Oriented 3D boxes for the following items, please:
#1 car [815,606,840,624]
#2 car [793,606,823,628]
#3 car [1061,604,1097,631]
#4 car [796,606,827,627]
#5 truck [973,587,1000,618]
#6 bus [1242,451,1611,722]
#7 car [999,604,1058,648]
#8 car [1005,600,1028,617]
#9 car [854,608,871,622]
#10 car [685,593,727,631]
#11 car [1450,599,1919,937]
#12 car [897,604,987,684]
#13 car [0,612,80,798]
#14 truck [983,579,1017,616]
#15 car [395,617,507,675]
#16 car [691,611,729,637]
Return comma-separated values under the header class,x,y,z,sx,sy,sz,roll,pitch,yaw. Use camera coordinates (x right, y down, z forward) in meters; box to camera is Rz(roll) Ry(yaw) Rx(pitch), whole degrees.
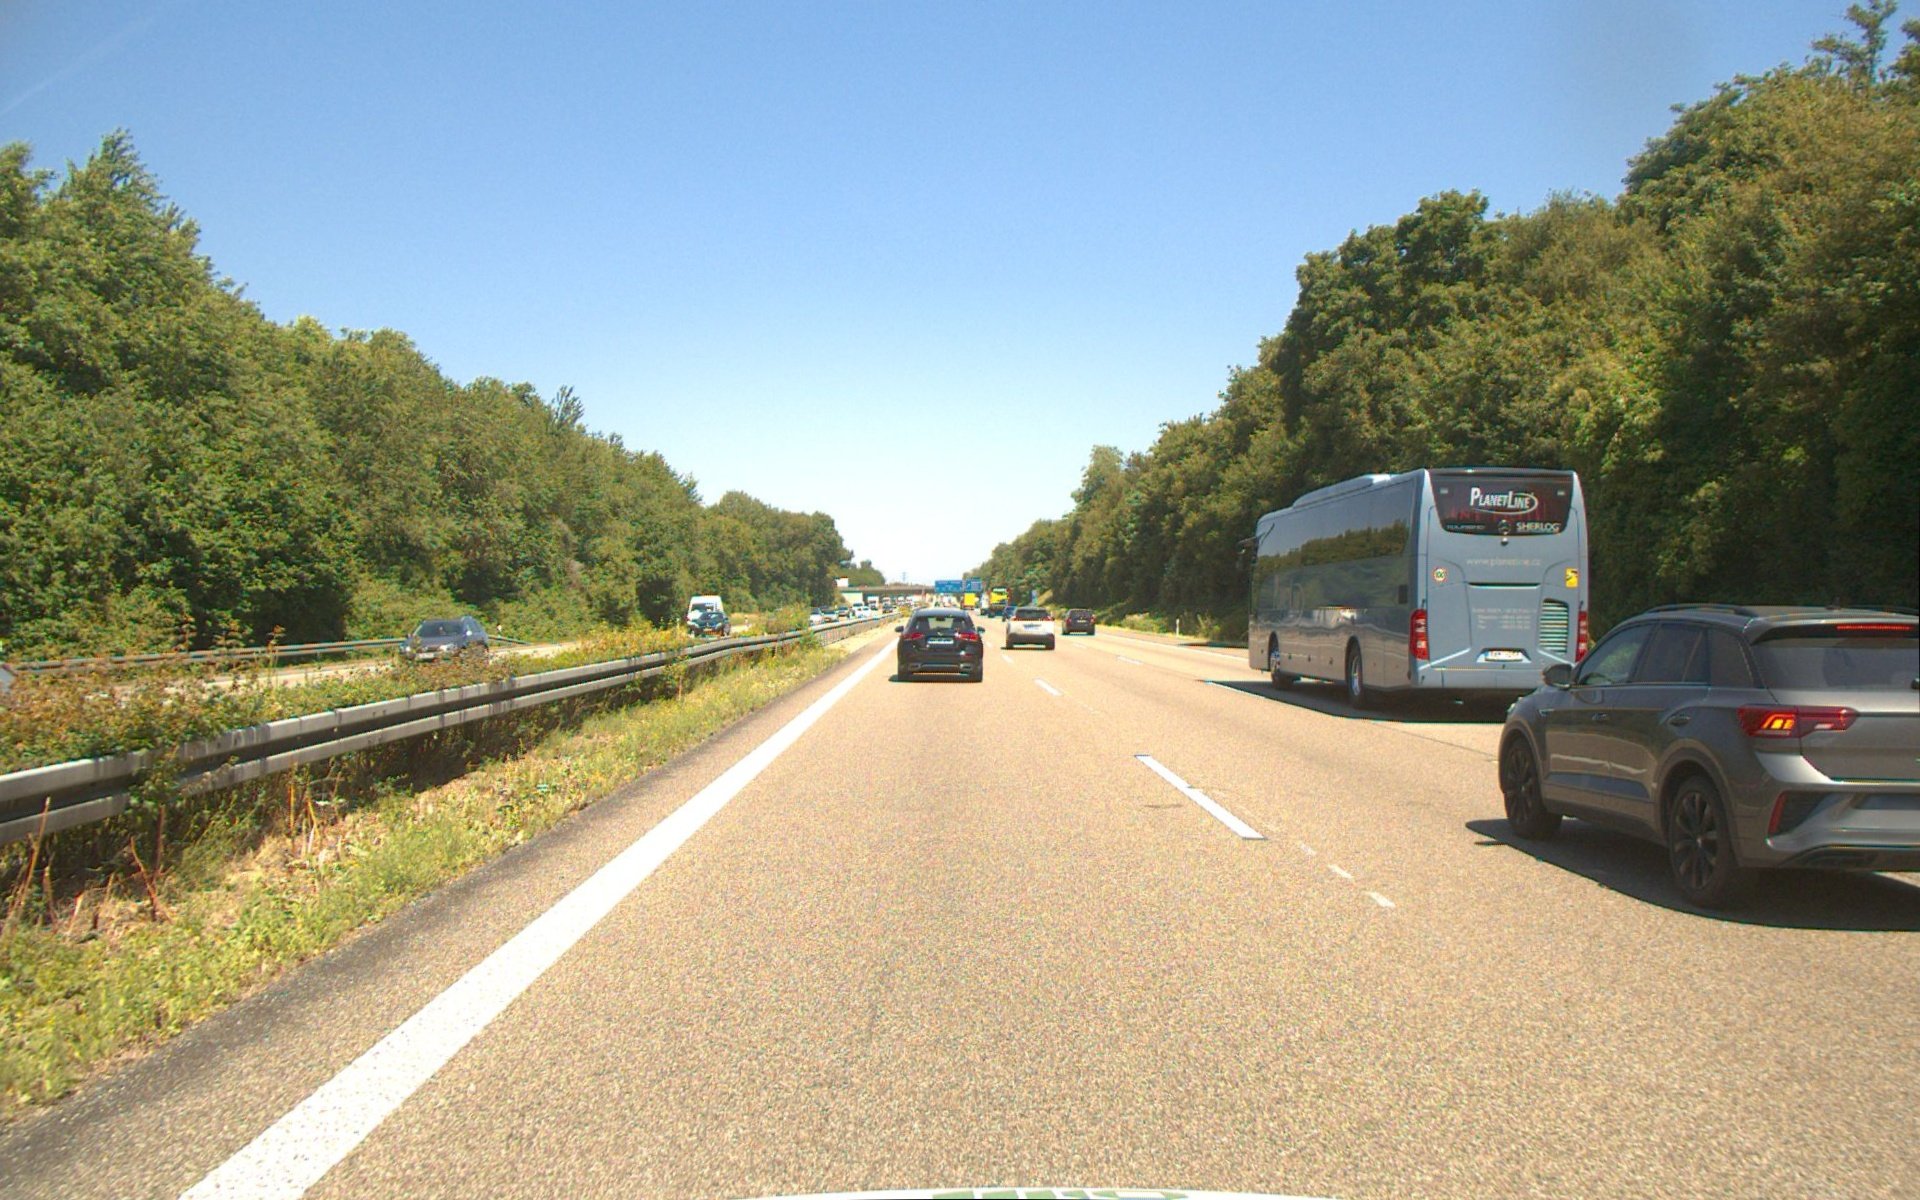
class,x,y,z,sx,sy,sz,roll,pitch,yaw
car,-11.218,1.270,140.392,1.801,1.407,4.427,-2,0,-1
car,-10.630,1.196,116.081,1.811,1.475,4.206,-2,0,-2
car,6.780,0.990,94.729,1.753,1.487,3.949,0,0,0
car,-10.576,1.174,118.039,1.801,1.407,4.427,-2,0,-1
truck,4.165,0.460,266.526,3.574,4.670,17.240,1,0,-2
bus,7.396,-0.163,28.644,2.745,3.659,12.472,0,0,-1
car,2.506,0.940,61.380,1.861,1.559,4.240,0,0,-2
car,5.829,0.882,171.530,2.034,1.781,4.240,-1,0,-2
car,-11.316,1.687,191.465,1.783,1.550,4.821,-1,0,-2
car,-18.152,0.857,118.260,2.045,2.597,6.226,-2,0,-1
car,4.682,0.780,10.060,1.861,1.559,4.758,0,0,-2
car,-0.417,0.874,34.702,1.763,1.528,4.240,0,0,-2
car,-8.757,0.884,12.801,1.634,1.538,4.517,-1,0,-3
truck,5.260,-0.324,220.014,3.574,4.670,15.760,1,0,-2
car,-14.570,1.277,47.591,1.811,1.475,4.870,-2,0,-2
car,-14.576,1.381,96.732,1.634,1.427,4.704,-1,0,-2
